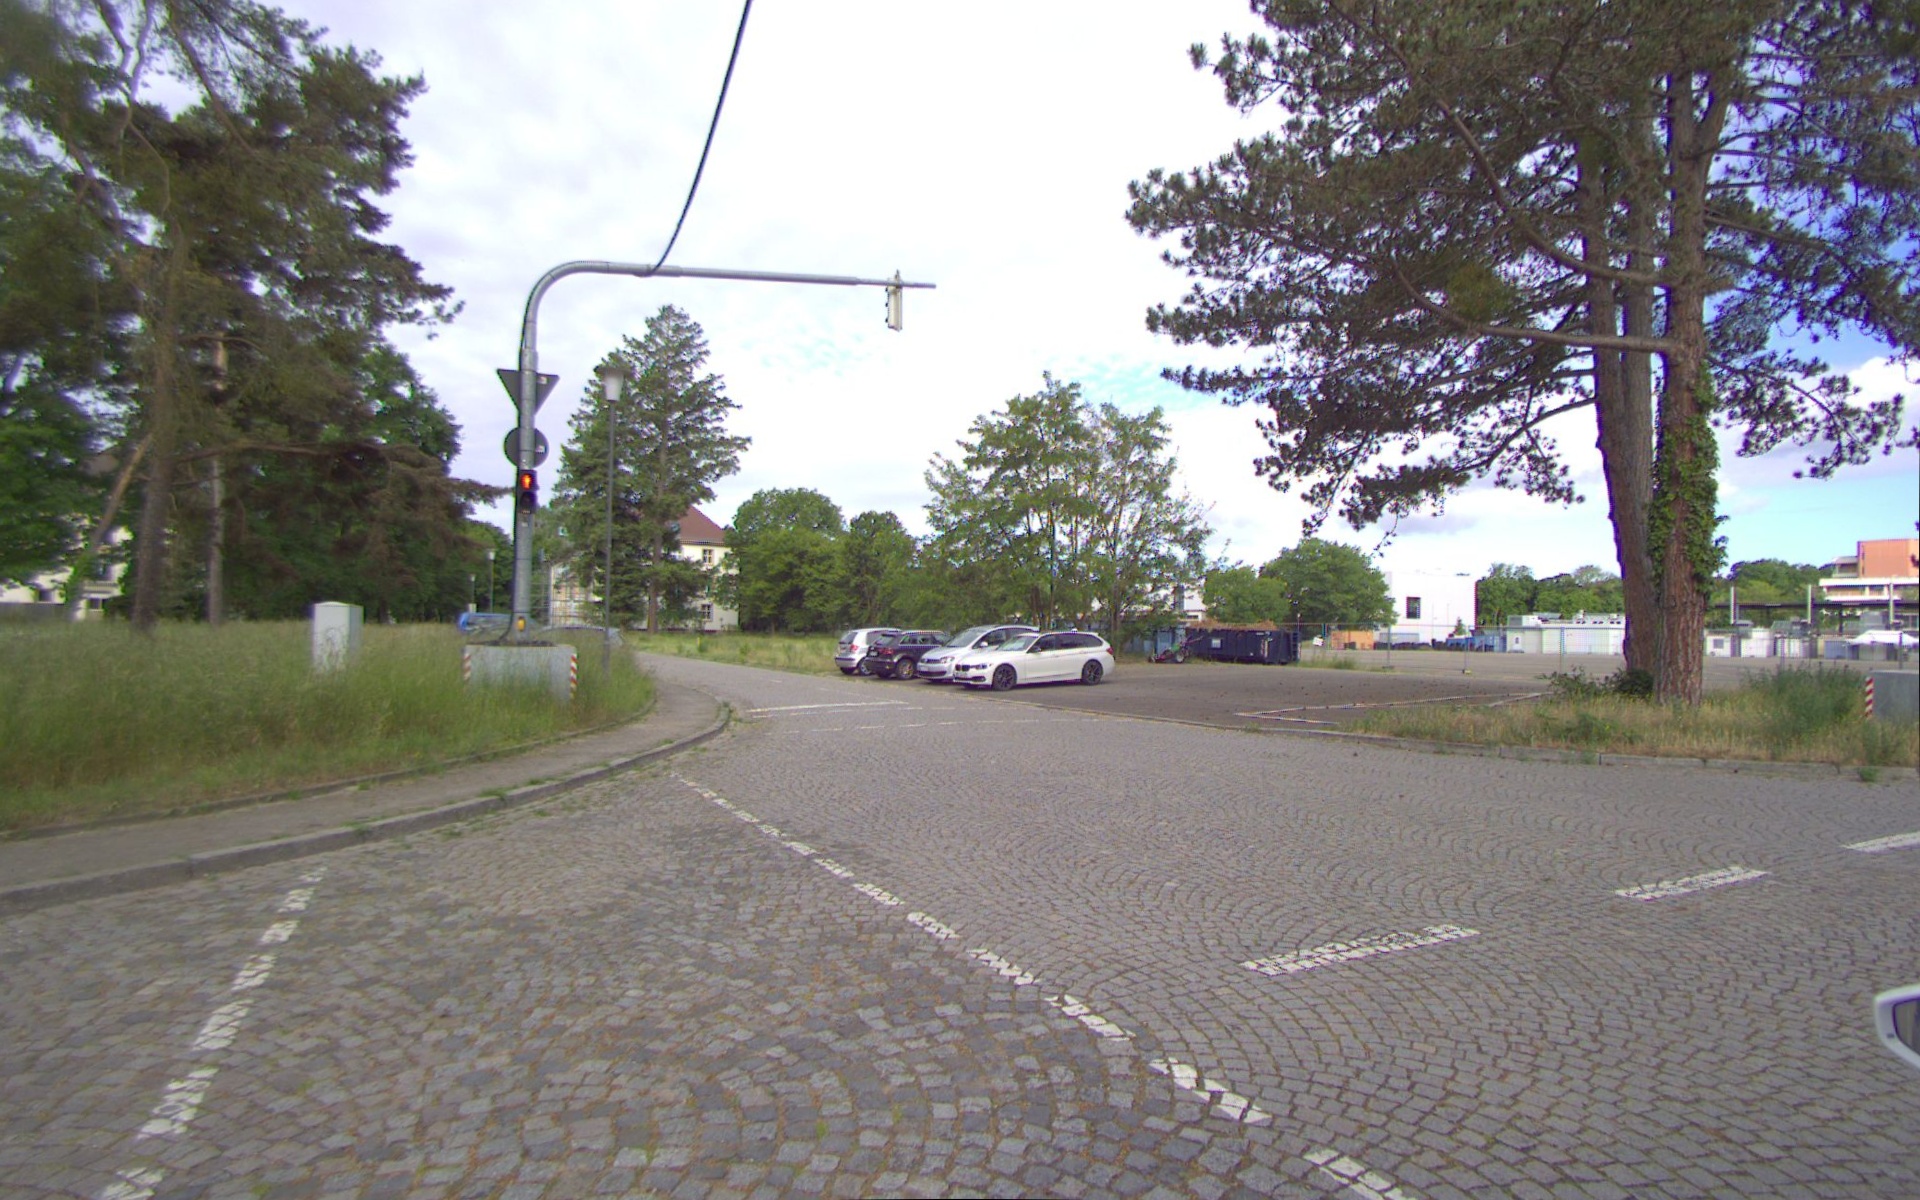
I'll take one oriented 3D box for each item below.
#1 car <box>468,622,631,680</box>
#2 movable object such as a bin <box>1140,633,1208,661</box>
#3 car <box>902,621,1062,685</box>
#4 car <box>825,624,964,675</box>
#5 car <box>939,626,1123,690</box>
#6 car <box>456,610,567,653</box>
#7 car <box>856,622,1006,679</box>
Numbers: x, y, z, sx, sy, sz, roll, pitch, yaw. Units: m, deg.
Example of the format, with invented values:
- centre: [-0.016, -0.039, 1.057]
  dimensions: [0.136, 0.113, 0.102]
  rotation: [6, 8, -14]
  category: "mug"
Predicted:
- centre: [-11.245, 1.397, 27.549]
  dimensions: [3.952, 1.492, 1.678]
  rotation: [2, -2, -30]
  category: "car"
- centre: [8.625, 1.885, 40.420]
  dimensions: [2.630, 1.061, 1.171]
  rotation: [2, -2, -33]
  category: "movable object such as a bin"
- centre: [0.657, 1.450, 28.785]
  dimensions: [4.277, 1.605, 1.812]
  rotation: [-1, 0, -32]
  category: "car"
- centre: [-2.142, 1.621, 33.342]
  dimensions: [4.278, 1.587, 1.783]
  rotation: [2, -2, -32]
  category: "car"
- centre: [1.923, 1.472, 26.546]
  dimensions: [4.686, 1.461, 1.801]
  rotation: [0, 0, -31]
  category: "car"
- centre: [-21.618, 1.520, 48.445]
  dimensions: [4.734, 2.007, 1.983]
  rotation: [1, -1, -28]
  category: "car"
- centre: [-0.877, 1.502, 30.985]
  dimensions: [4.277, 1.522, 1.845]
  rotation: [-1, 0, -32]
  category: "car"
